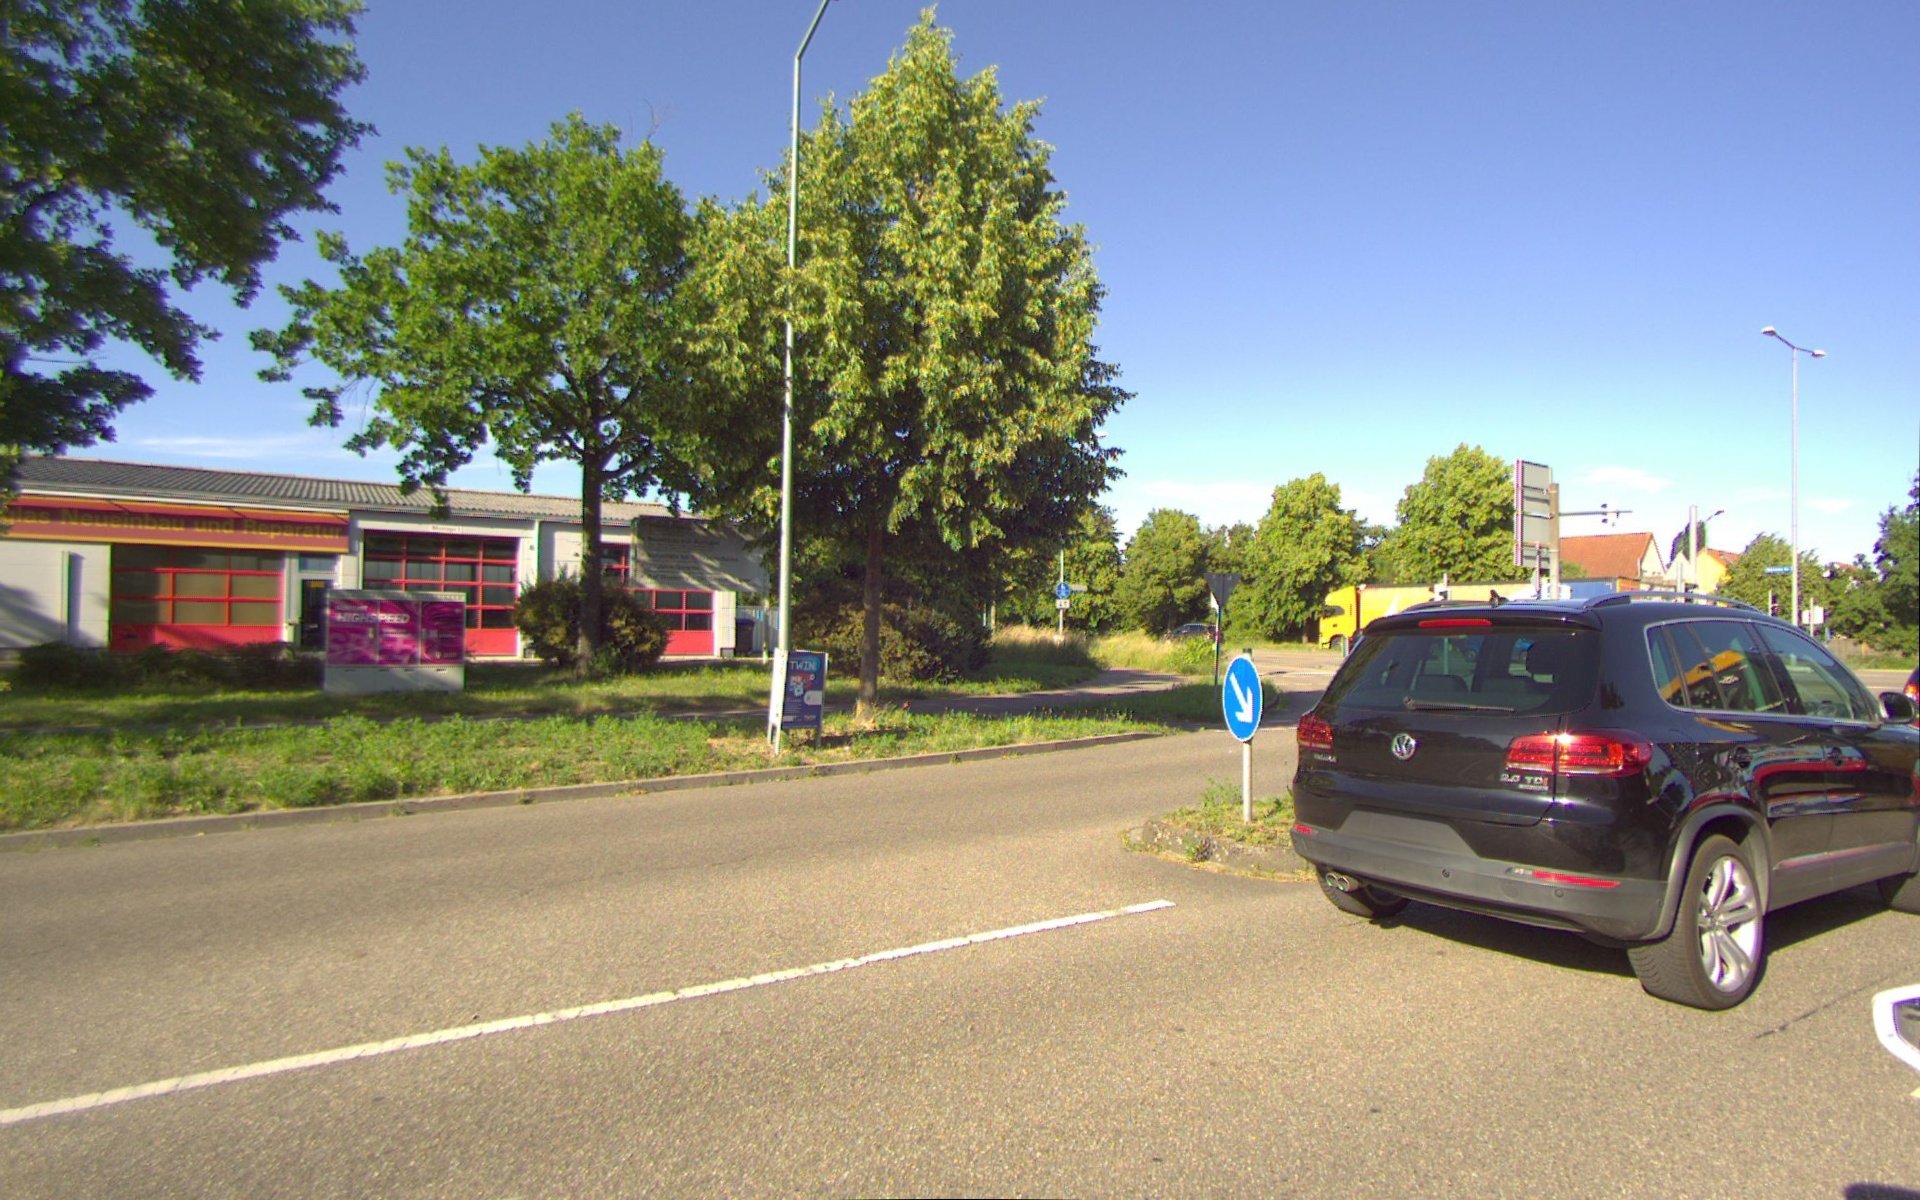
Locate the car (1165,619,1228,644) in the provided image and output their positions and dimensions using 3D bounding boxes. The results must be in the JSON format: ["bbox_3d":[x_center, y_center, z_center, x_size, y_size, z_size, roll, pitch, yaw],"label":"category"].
[{"bbox_3d":[15.422,2.032,65.669,1.550,1.461,3.960,2,-1,-35],"label":"car"}]

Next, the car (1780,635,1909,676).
[{"bbox_3d":[38.333,2.354,43.622,1.678,1.633,3.961,1,-1,-35],"label":"car"}]

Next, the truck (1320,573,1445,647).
[{"bbox_3d":[24.473,0.630,58.448,2.449,4.051,6.354,1,-1,-36],"label":"truck"}]

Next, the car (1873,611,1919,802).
[{"bbox_3d":[10.251,0.916,9.220,3.988,1.642,1.745,0,-1,-32],"label":"car"}]

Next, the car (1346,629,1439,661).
[{"bbox_3d":[20.528,2.107,47.838,1.494,1.330,3.817,2,-1,-38],"label":"car"}]

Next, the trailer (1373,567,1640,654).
[{"bbox_3d":[28.303,0.578,53.092,2.446,4.083,12.647,1,-1,-35],"label":"trailer"}]

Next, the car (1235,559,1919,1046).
[{"bbox_3d":[3.544,0.810,5.322,3.957,1.695,1.812,2,-3,-31],"label":"car"}]

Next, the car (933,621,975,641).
[{"bbox_3d":[-0.529,2.684,87.846,1.680,1.573,3.959,2,-1,-36],"label":"car"}]

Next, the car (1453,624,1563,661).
[{"bbox_3d":[23.728,1.831,43.591,1.668,1.403,3.817,2,-1,-38],"label":"car"}]
